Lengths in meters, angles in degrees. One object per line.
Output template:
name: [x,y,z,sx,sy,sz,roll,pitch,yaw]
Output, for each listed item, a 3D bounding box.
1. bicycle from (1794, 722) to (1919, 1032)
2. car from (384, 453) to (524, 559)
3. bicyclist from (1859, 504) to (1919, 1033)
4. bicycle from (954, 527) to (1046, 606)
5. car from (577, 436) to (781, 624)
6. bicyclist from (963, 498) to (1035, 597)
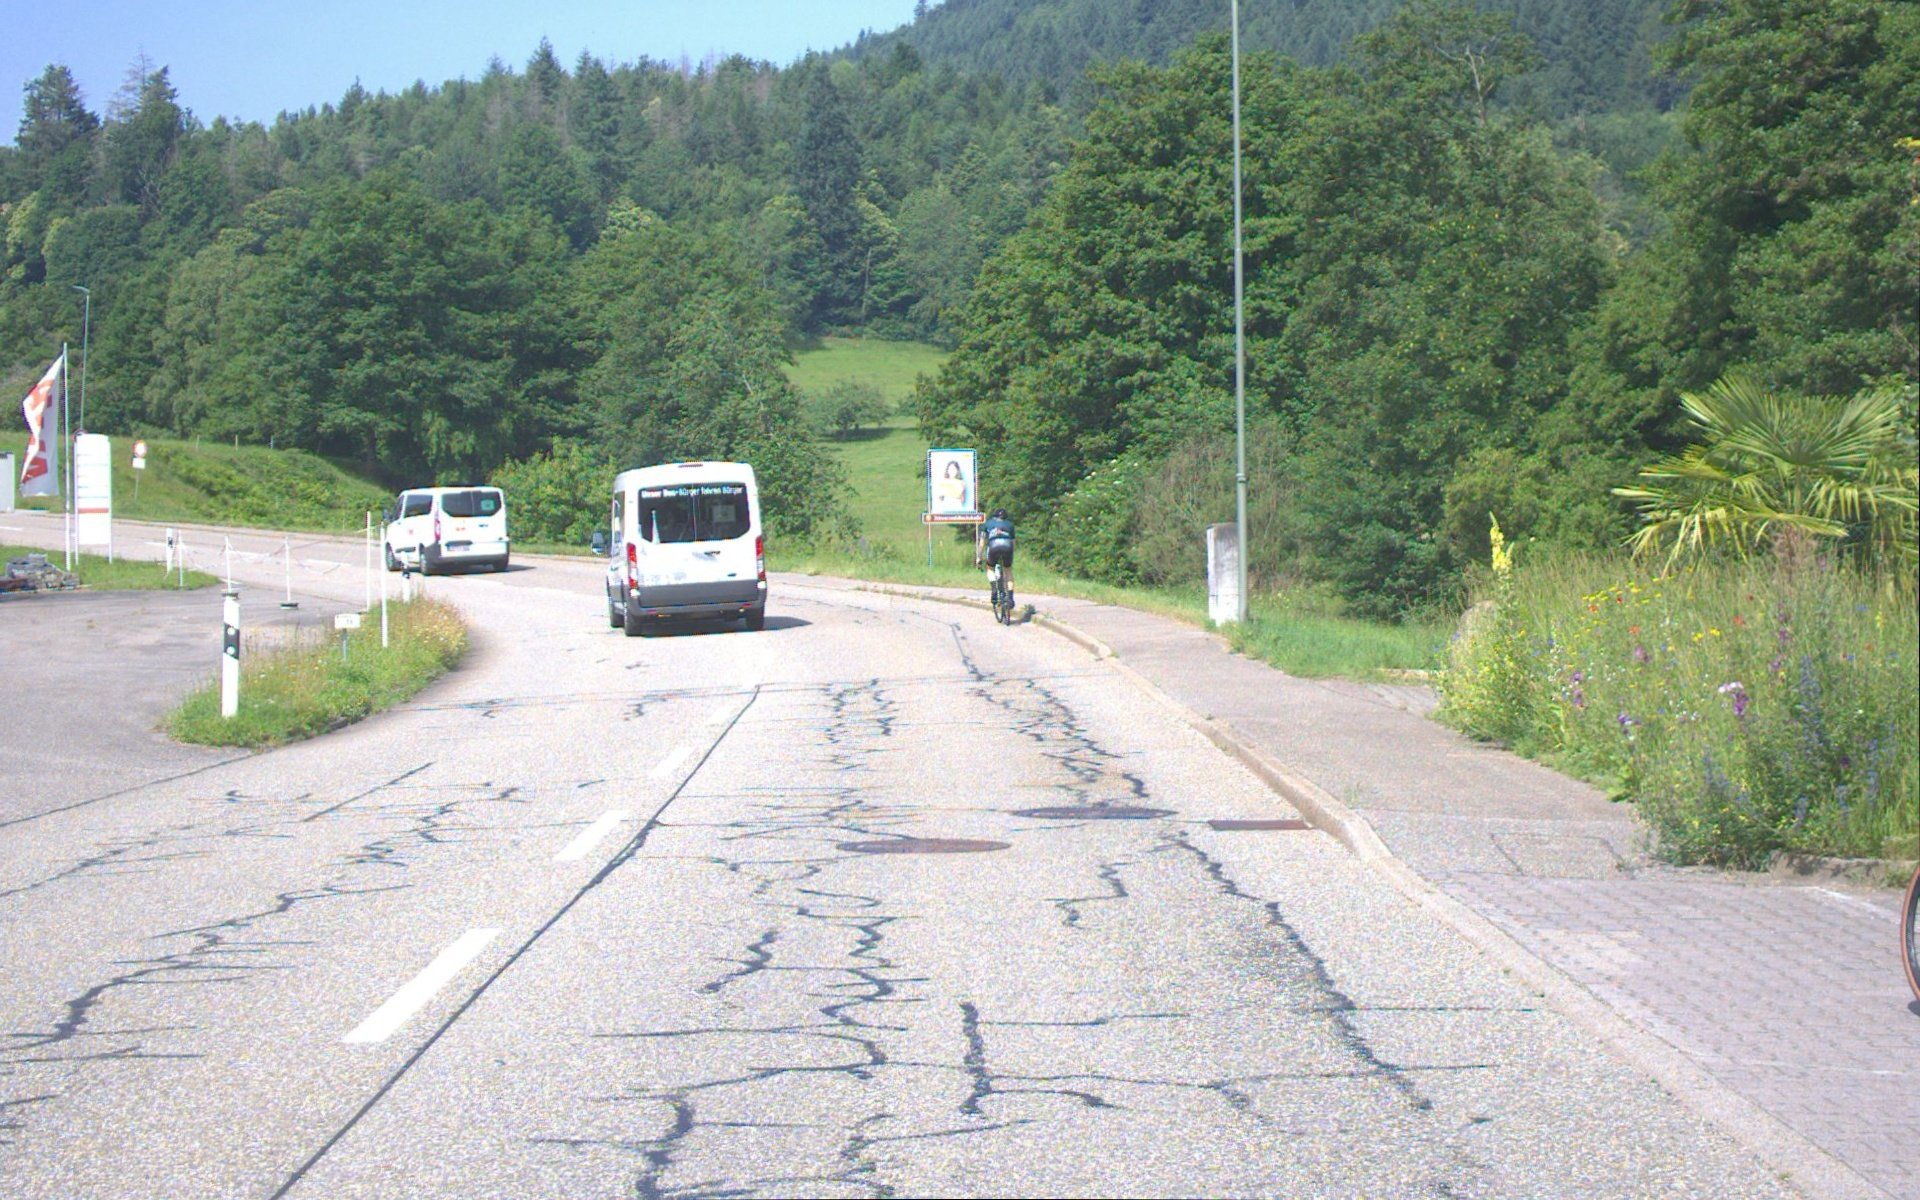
bicycle: [3.491,0.913,10.449,0.688,0.914,1.950,1,3,-28]
car: [-11.875,-2.242,80.409,2.222,2.278,4.986,-4,4,-19]
bicyclist: [3.446,0.548,10.496,0.688,1.627,1.141,1,3,-28]
bicycle: [0.548,-0.478,48.199,0.579,1.031,1.991,-4,3,-19]
car: [-4.219,-1.107,50.867,2.222,2.516,4.987,-3,3,-12]
bicyclist: [0.542,-0.739,48.150,0.579,1.338,1.145,-4,3,-19]
